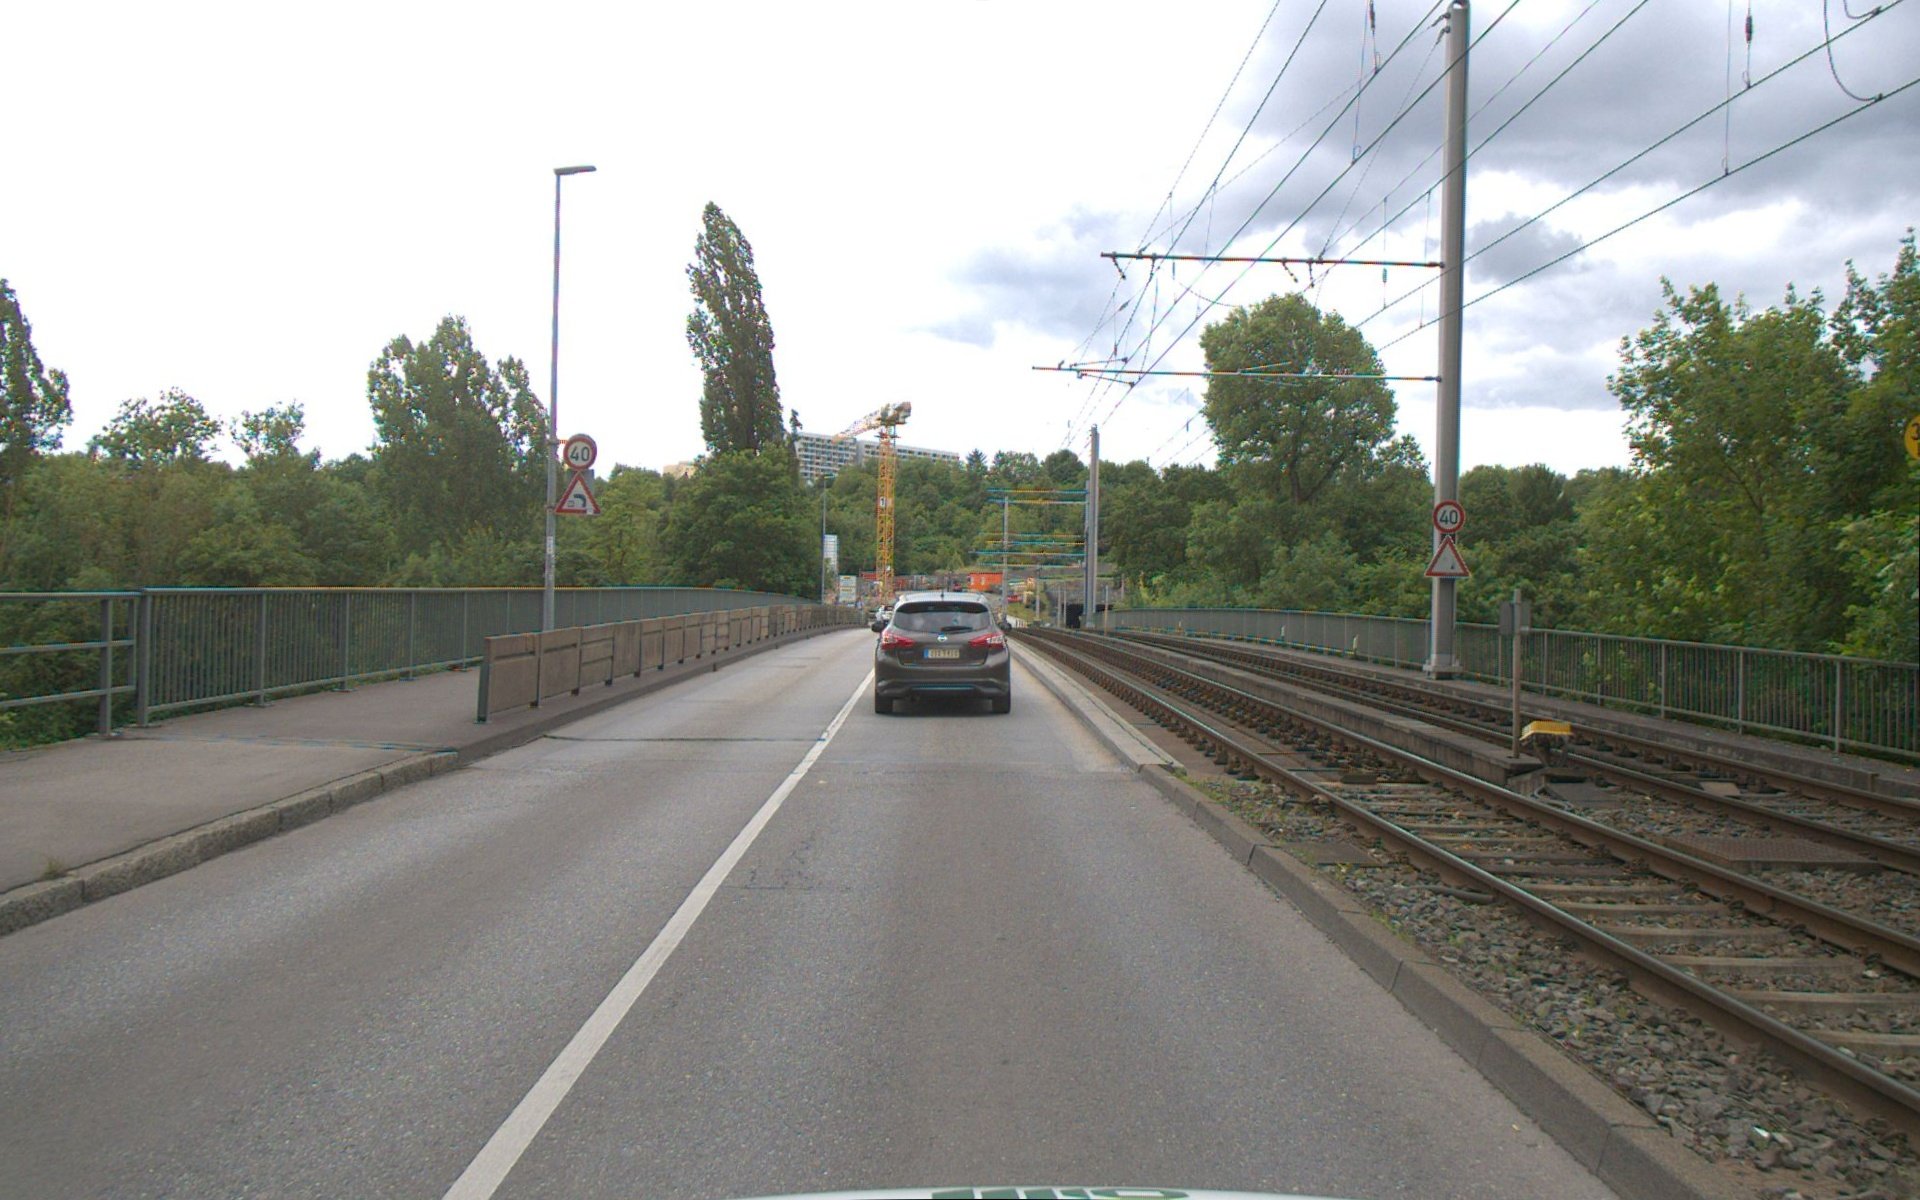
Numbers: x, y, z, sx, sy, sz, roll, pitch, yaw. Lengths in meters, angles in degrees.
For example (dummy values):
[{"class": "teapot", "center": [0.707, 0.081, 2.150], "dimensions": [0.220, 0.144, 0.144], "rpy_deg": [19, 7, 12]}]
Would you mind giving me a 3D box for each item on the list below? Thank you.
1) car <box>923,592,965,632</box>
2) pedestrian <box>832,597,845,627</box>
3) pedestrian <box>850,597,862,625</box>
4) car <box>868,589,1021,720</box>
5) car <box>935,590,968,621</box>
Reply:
[{"class": "car", "center": [-0.656, 0.476, 70.546], "dimensions": [1.645, 1.634, 4.309], "rpy_deg": [-1, 0, 0]}, {"class": "pedestrian", "center": [-7.671, 0.739, 104.520], "dimensions": [0.706, 1.872, 0.723], "rpy_deg": [1, -1, -1]}, {"class": "pedestrian", "center": [-6.514, 0.685, 103.688], "dimensions": [0.706, 1.731, 0.723], "rpy_deg": [1, -1, -1]}, {"class": "car", "center": [-0.294, 0.655, 22.162], "dimensions": [1.794, 1.536, 3.997], "rpy_deg": [0, 1, -4]}, {"class": "car", "center": [-0.493, 0.288, 90.939], "dimensions": [1.646, 1.634, 4.307], "rpy_deg": [-1, 0, -2]}]
